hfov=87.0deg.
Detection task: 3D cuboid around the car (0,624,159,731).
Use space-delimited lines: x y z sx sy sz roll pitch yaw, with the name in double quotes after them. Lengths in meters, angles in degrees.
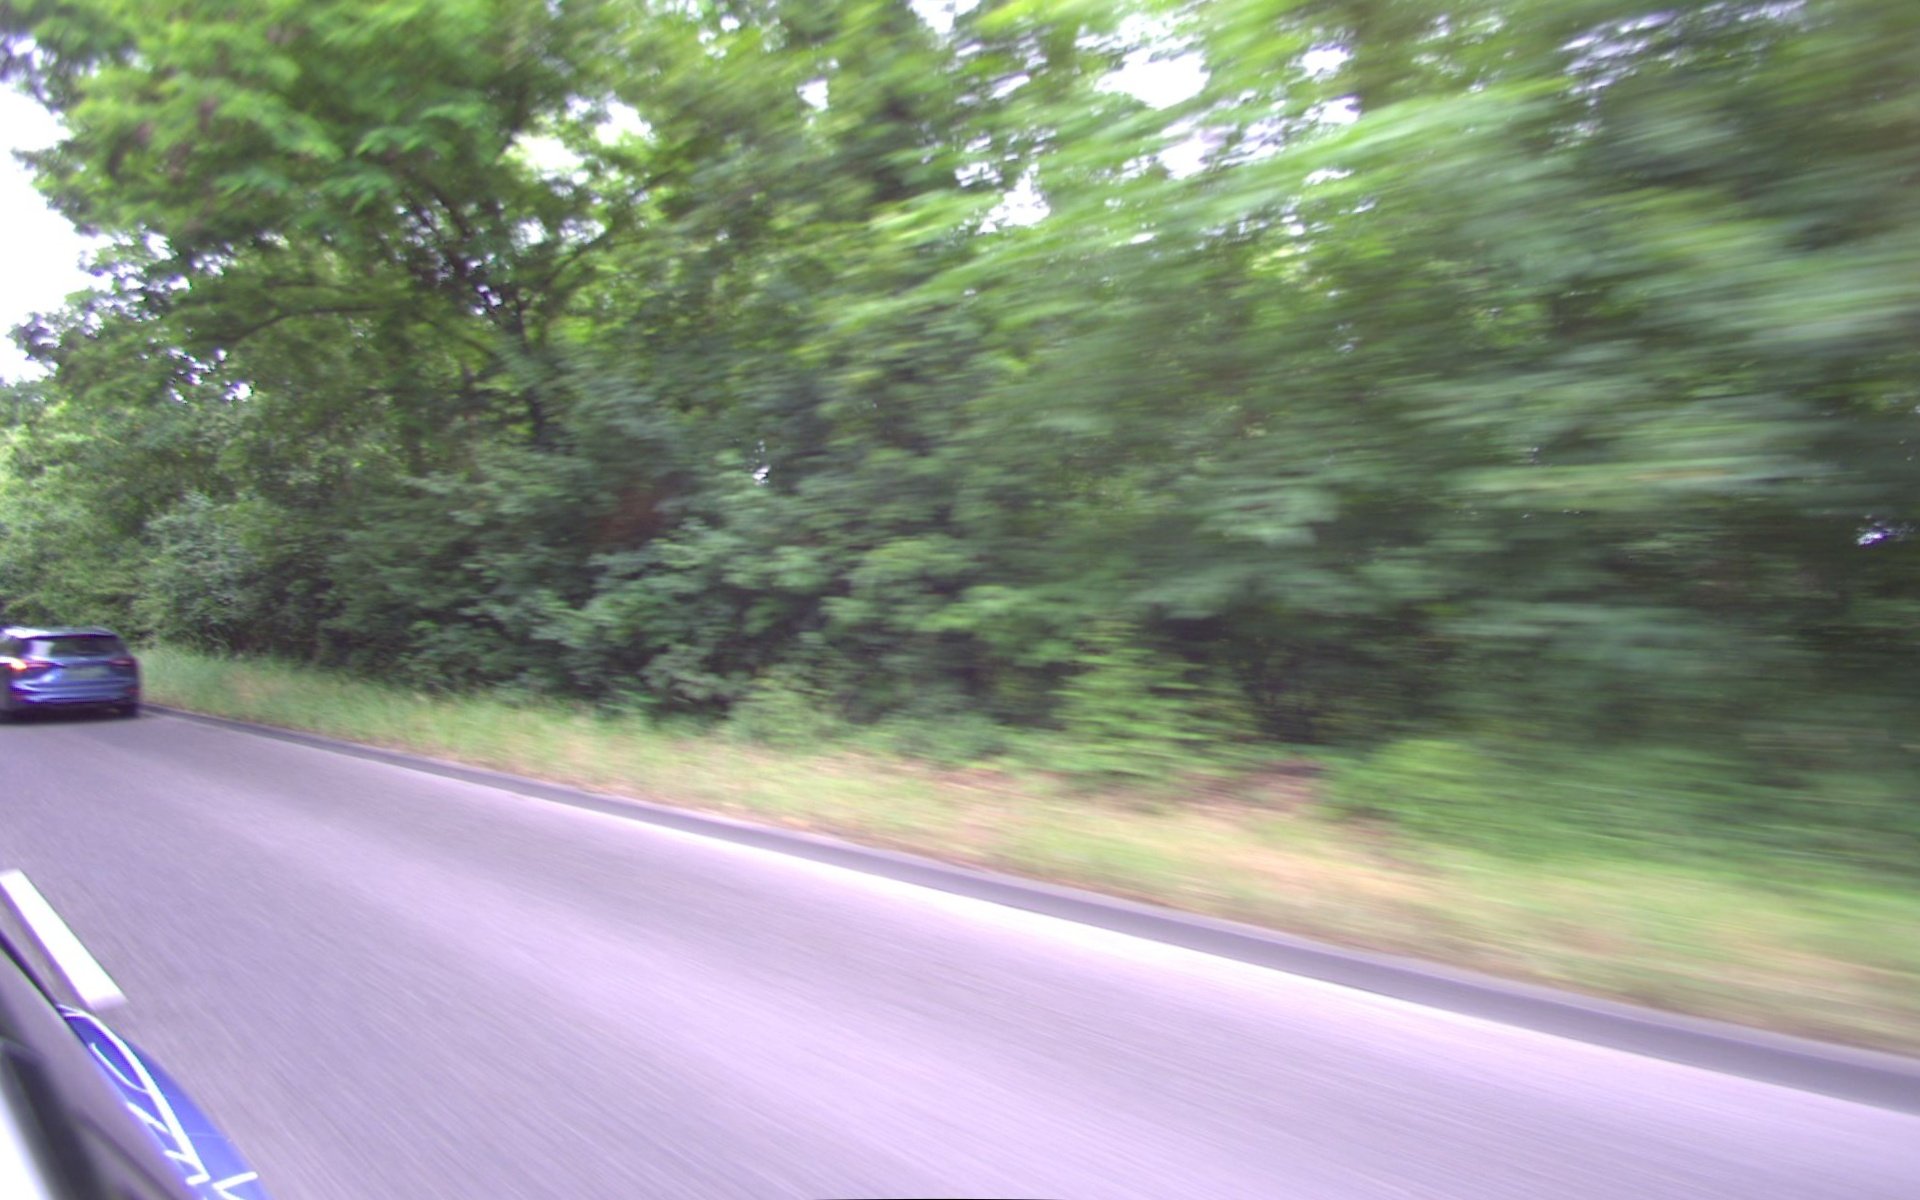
-14.745 1.156 16.432 3.997 1.448 1.973 -1 1 40 "car"
